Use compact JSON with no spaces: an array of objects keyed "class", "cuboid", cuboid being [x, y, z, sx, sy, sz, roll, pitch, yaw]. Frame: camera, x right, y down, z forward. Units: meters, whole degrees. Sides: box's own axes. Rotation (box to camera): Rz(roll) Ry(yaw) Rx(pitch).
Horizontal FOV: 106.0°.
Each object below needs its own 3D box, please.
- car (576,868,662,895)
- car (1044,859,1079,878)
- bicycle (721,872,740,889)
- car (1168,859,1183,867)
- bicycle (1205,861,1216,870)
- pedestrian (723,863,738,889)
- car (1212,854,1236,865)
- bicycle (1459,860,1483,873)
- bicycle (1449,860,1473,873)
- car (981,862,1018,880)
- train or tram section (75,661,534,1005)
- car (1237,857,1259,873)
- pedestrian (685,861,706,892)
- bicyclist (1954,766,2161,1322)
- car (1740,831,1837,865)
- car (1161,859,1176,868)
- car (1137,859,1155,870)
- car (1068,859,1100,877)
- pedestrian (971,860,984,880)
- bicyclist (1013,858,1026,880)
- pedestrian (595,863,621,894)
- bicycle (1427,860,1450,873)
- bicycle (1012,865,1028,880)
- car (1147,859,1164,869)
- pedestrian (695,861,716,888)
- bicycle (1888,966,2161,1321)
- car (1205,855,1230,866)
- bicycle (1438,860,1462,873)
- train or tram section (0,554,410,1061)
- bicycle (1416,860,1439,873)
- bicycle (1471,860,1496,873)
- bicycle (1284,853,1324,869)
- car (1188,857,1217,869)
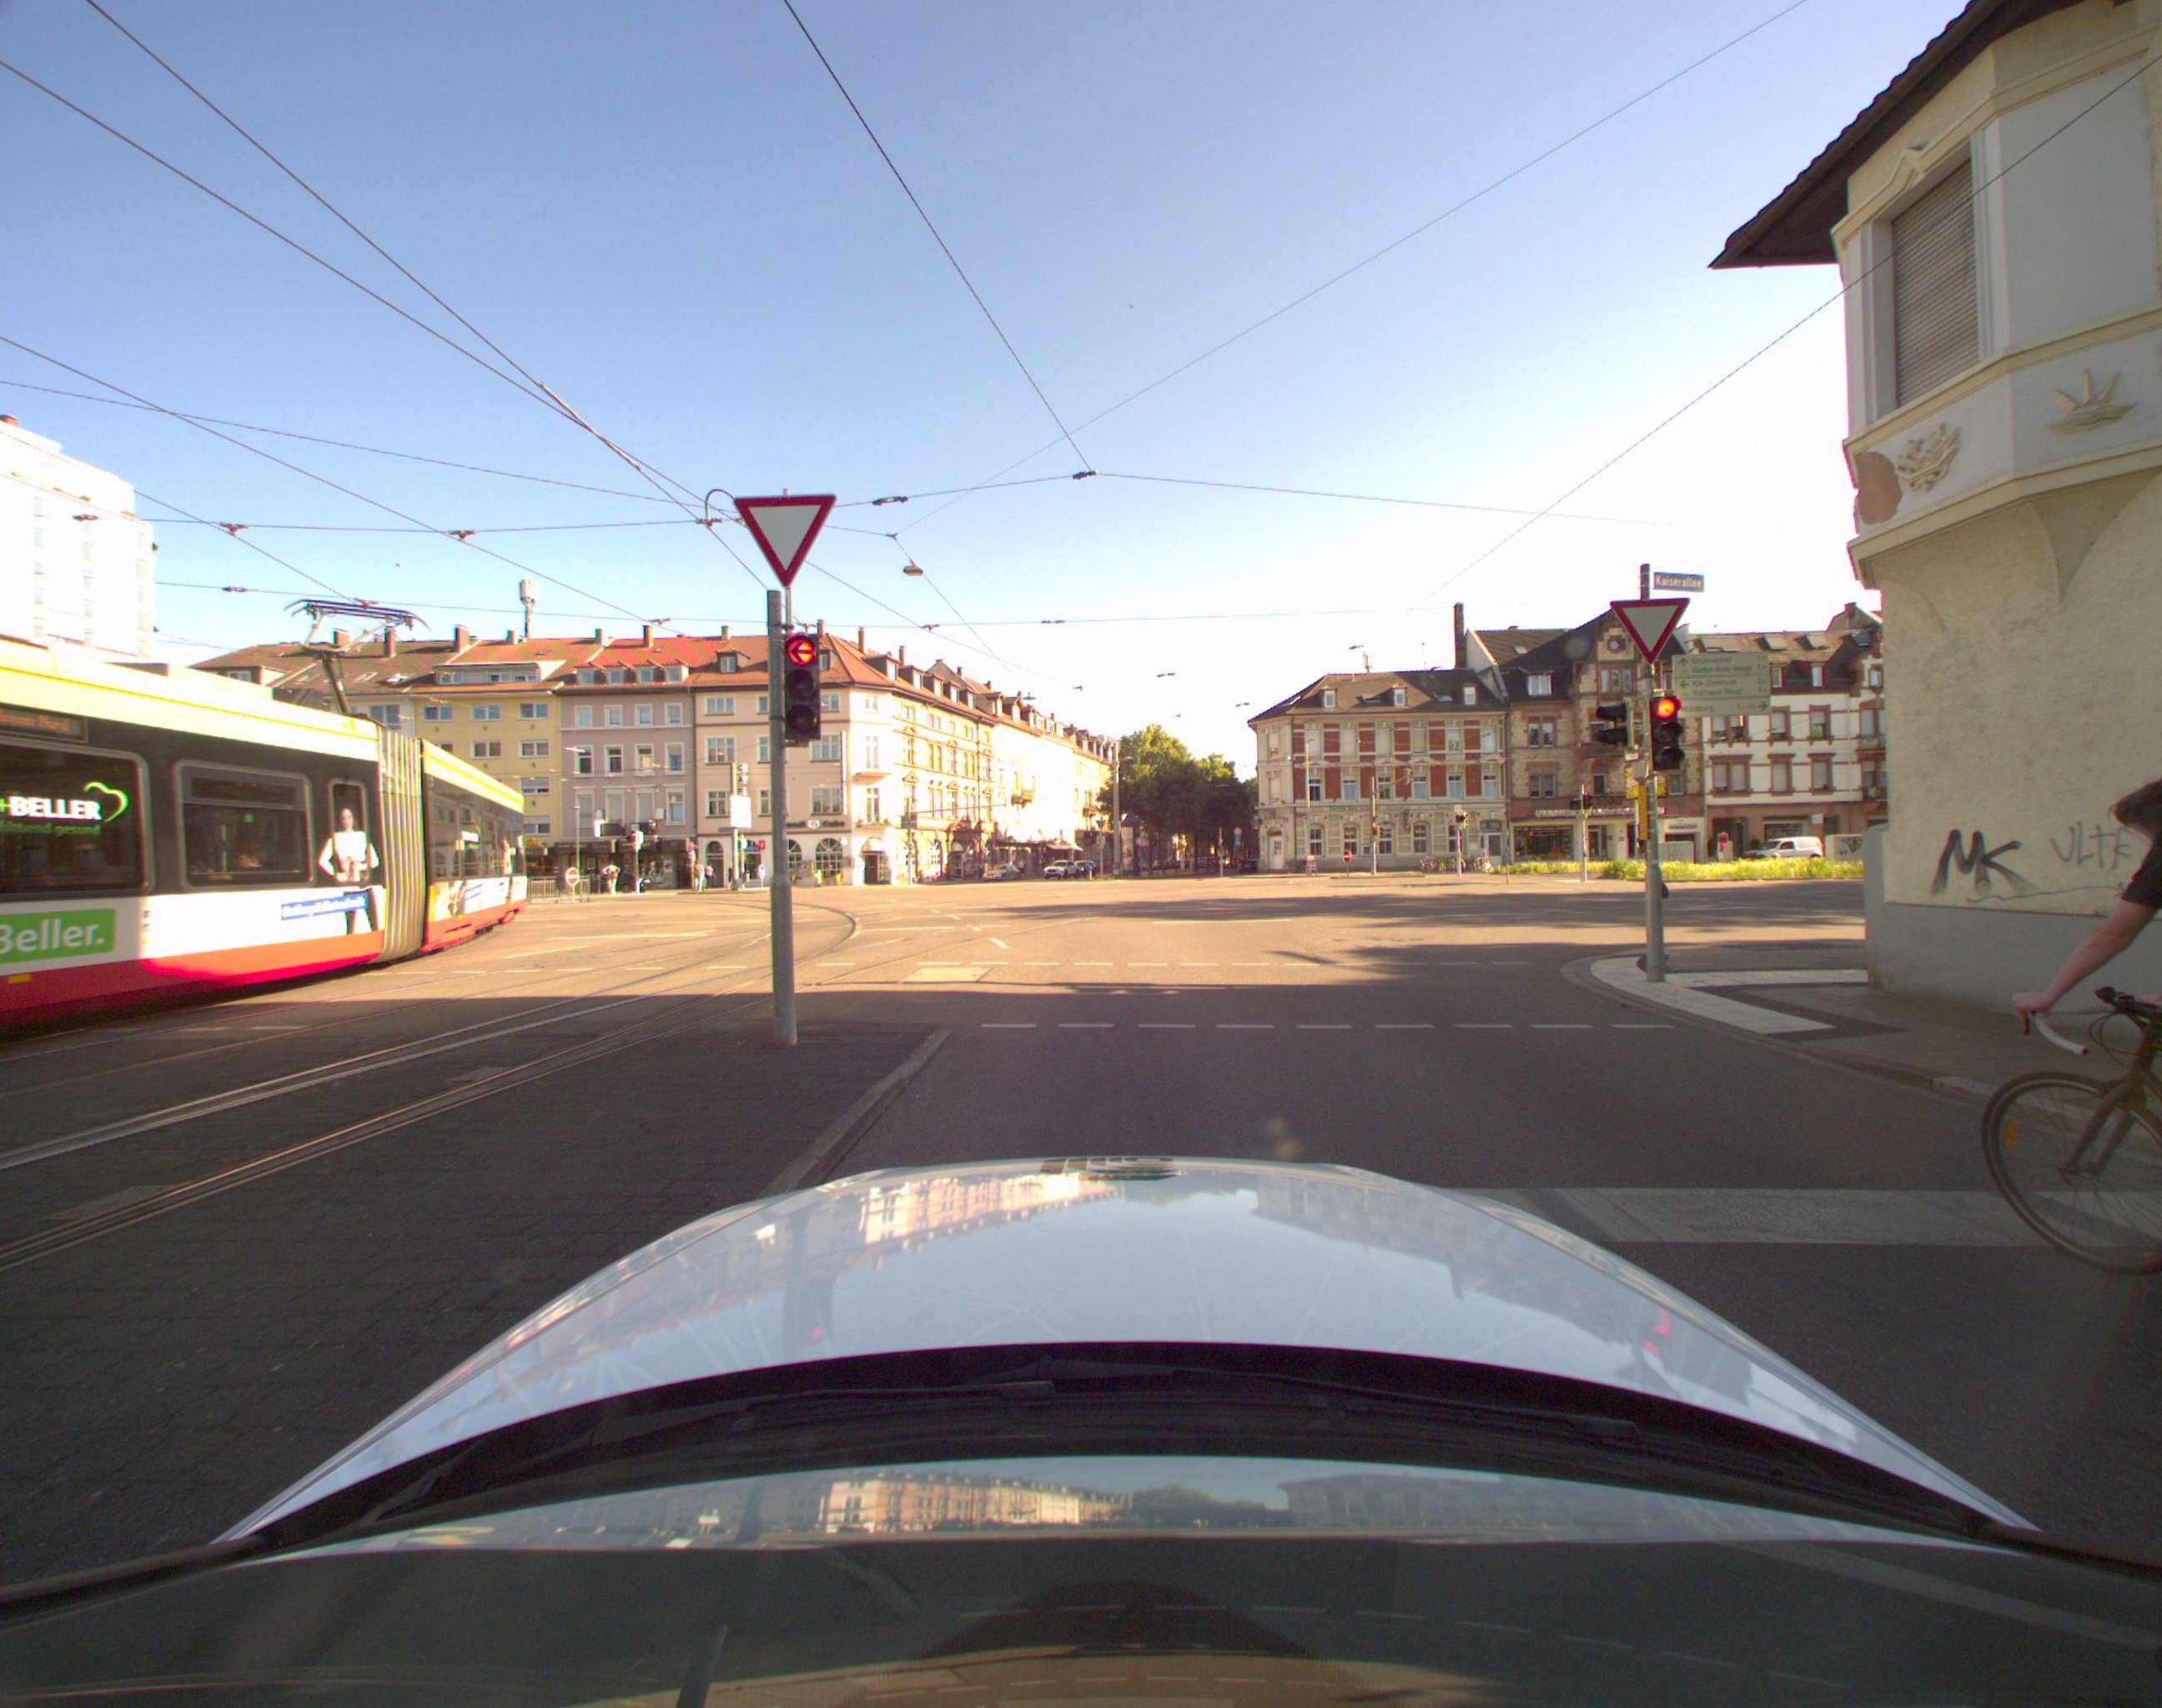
[{"class":"car","cuboid":[-30.363,1.786,53.637,4.347,1.711,2.308,0,-1,4]},{"class":"car","cuboid":[-1.601,1.208,67.508,1.664,1.483,3.789,-2,0,19]},{"class":"bicycle","cuboid":[-22.814,1.744,53.028,0.570,1.077,1.497,0,-1,2]},{"class":"car","cuboid":[15.729,1.508,135.598,1.664,1.354,3.608,-2,0,19]},{"class":"bicycle","cuboid":[15.776,1.381,99.276,0.636,1.021,1.839,0,-1,-12]},{"class":"pedestrian","cuboid":[-22.819,1.450,53.021,0.580,1.670,0.753,0,-1,2]},{"class":"car","cuboid":[23.364,0.952,133.150,3.549,1.648,1.691,-2,0,19]},{"class":"bicycle","cuboid":[25.207,0.798,52.698,0.656,0.840,2.162,0,-1,3]},{"class":"bicycle","cuboid":[24.570,0.804,52.743,0.656,0.840,2.162,0,-1,3]},{"class":"car","cuboid":[-6.706,1.419,67.224,1.664,1.354,3.608,-2,0,19]},{"class":"train or tram section","cuboid":[-12.832,-0.185,15.325,2.949,3.814,12.702,-1,0,-28]},{"class":"car","cuboid":[16.909,1.089,82.331,1.664,1.483,3.967,-2,0,19]},{"class":"pedestrian","cuboid":[-20.000,1.139,42.228,0.545,1.577,0.838,-1,-1,29]},{"class":"bicyclist","cuboid":[3.574,0.576,2.497,0.570,1.701,1.117,-1,0,2]},{"class":"car","cuboid":[45.445,-0.388,52.396,4.406,2.013,2.002,-1,0,4]},{"class":"car","cuboid":[14.042,1.489,130.605,1.664,1.354,3.608,-2,0,19]},{"class":"car","cuboid":[9.180,1.481,115.444,1.664,1.354,3.608,-2,0,19]},{"class":"car","cuboid":[0.311,1.234,73.767,1.664,1.483,3.967,-2,0,19]},{"class":"pedestrian","cuboid":[-8.930,1.381,70.351,0.770,1.670,0.834,-1,-1,17]},{"class":"bicyclist","cuboid":[-4.937,1.203,65.412,0.772,1.803,1.060,-1,-1,16]},{"class":"pedestrian","cuboid":[-24.692,1.284,42.500,0.842,1.577,0.836,-1,-1,11]},{"class":"bicycle","cuboid":[23.163,0.814,52.751,0.656,0.840,2.162,0,-1,3]},{"class":"bicycle","cuboid":[-4.891,1.478,65.532,0.696,1.118,1.642,-1,-1,16]},{"class":"car","cuboid":[11.251,1.519,122.360,1.664,1.354,3.608,-2,0,19]},{"class":"pedestrian","cuboid":[-22.033,1.199,47.838,0.719,1.577,0.838,-1,-1,23]},{"class":"bicycle","cuboid":[3.599,0.958,2.506,0.516,0.970,1.750,-1,0,2]},{"class":"car","cuboid":[21.457,1.046,127.717,3.549,1.648,1.691,-2,0,19]},{"class":"bicycle","cuboid":[23.887,0.809,52.736,0.656,0.840,2.162,0,-1,3]},{"class":"train or tram section","cuboid":[-9.305,-0.337,3.874,2.930,3.814,13.018,-1,0,-8]},{"class":"bicycle","cuboid":[22.428,0.819,52.692,0.656,0.840,2.162,0,-1,3]},{"class":"bicycle","cuboid":[26.011,0.793,52.712,0.656,0.840,2.162,0,-1,3]},{"class":"bicycle","cuboid":[15.606,0.494,57.056,2.547,1.174,0.818,0,-1,-1]},{"class":"car","cuboid":[17.211,1.245,115.451,3.870,1.648,1.691,-2,0,19]}]
